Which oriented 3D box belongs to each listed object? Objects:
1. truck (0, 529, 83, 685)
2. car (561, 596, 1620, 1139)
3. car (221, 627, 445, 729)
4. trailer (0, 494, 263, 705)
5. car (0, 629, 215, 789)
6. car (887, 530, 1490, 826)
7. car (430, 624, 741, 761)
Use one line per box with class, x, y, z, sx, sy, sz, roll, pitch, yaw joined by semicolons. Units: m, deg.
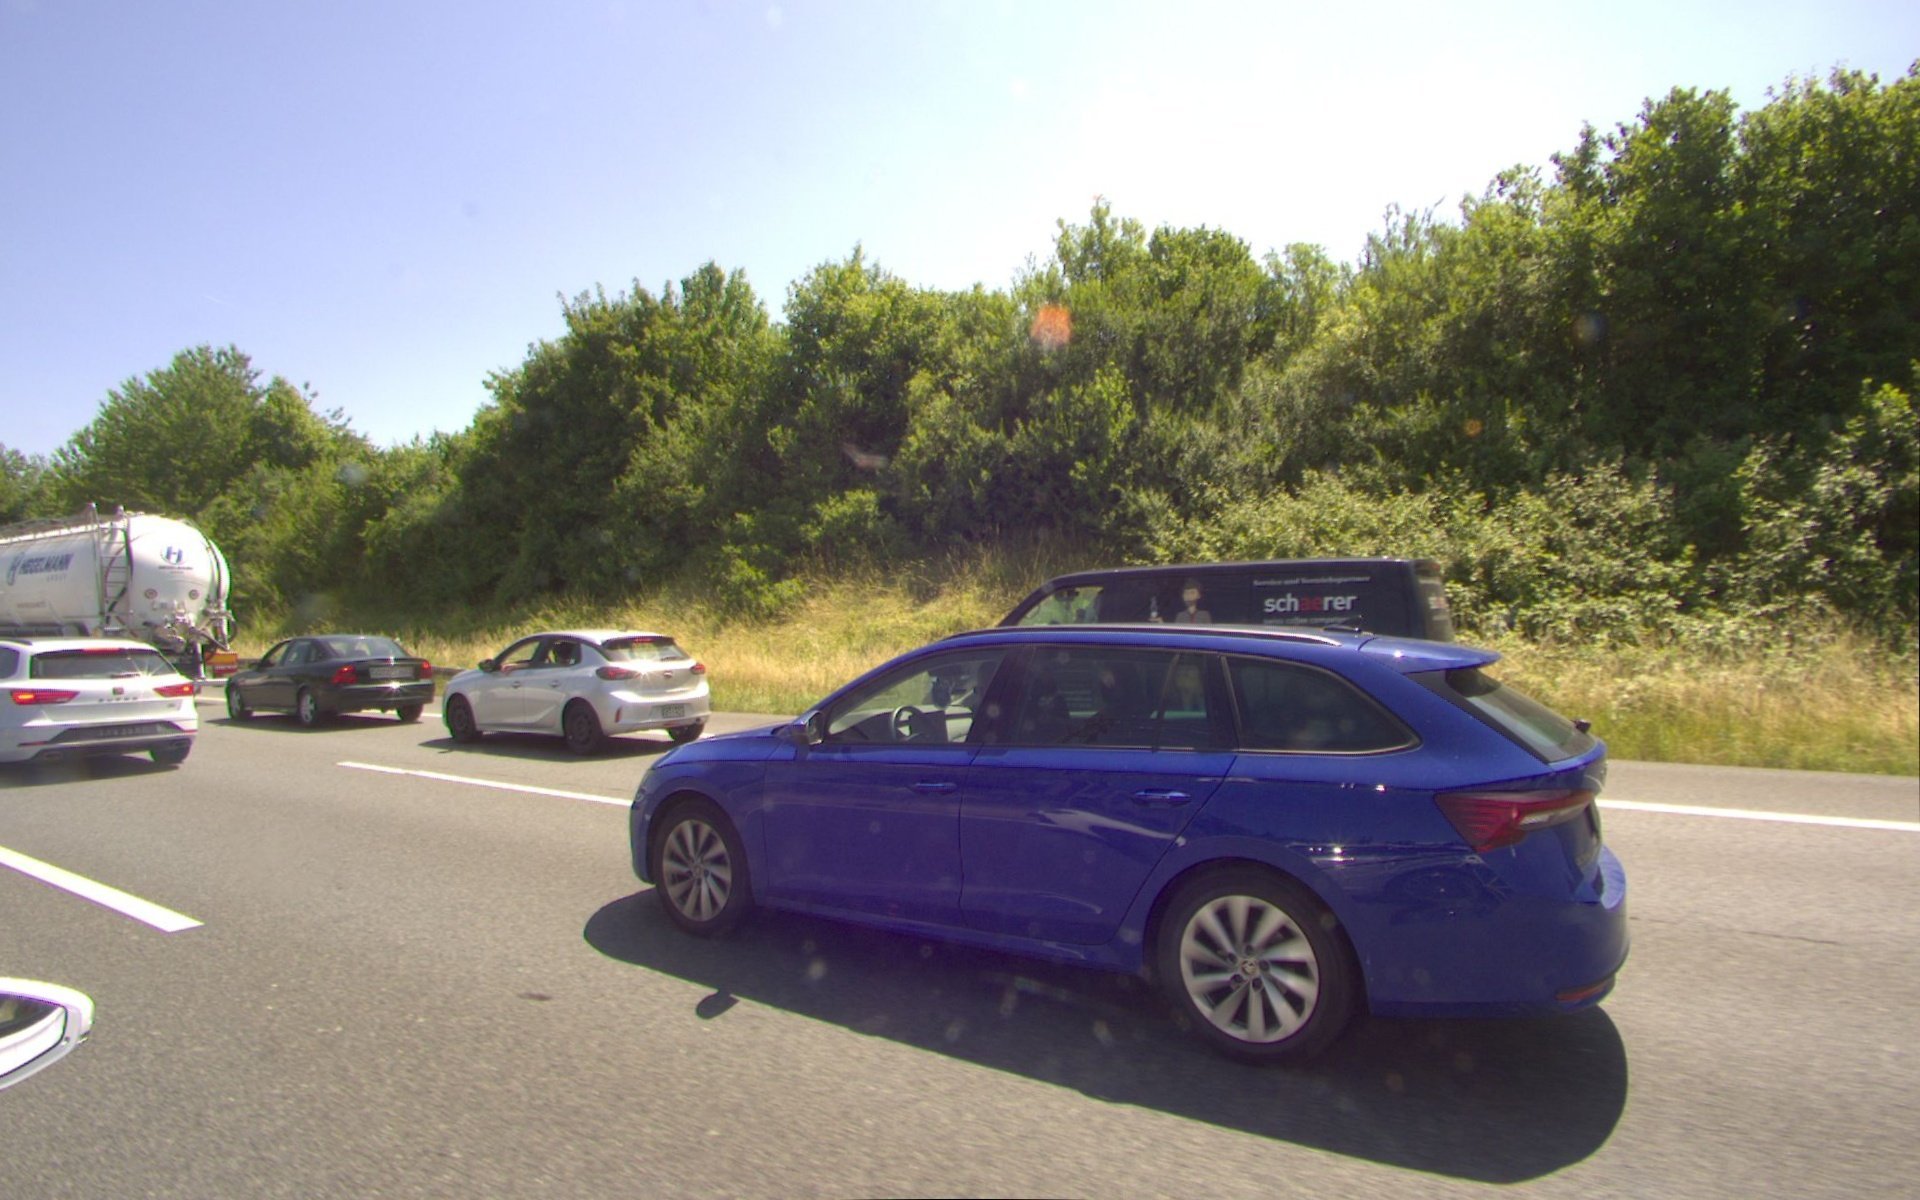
truck;-26.227;0.228;26.738;5.494;3.887;2.787;-1;0;33
car;0.331;0.785;4.656;4.509;1.435;1.772;-2;0;33
car;-10.352;1.222;16.453;3.935;1.435;1.637;-2;0;34
trailer;-20.029;0.105;22.796;11.325;3.895;2.755;-1;0;33
car;-10.335;1.115;11.333;4.255;1.462;1.743;-2;-1;34
car;1.842;0.595;8.803;4.790;1.965;1.909;-2;-1;34
car;-4.852;1.063;12.822;3.971;1.462;1.727;0;0;33
